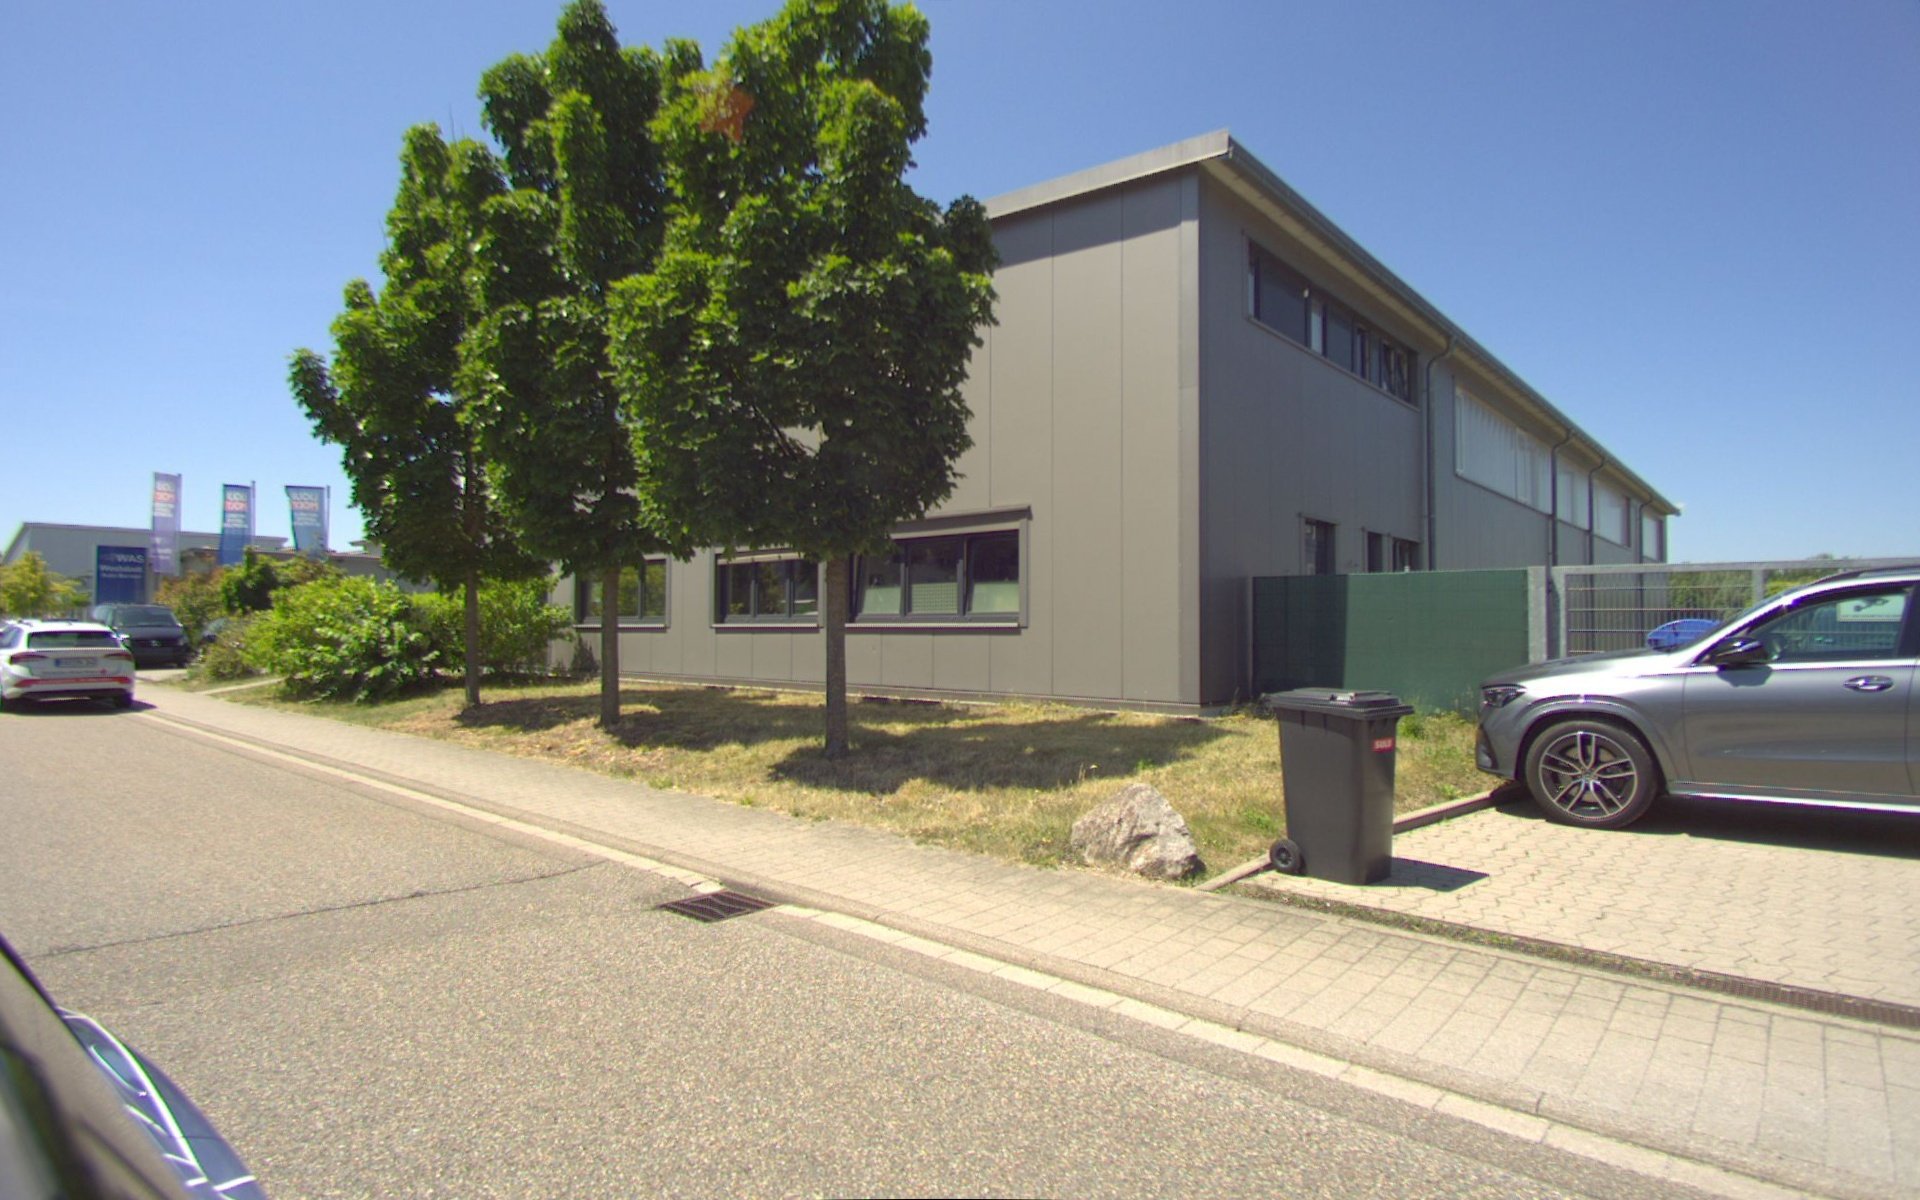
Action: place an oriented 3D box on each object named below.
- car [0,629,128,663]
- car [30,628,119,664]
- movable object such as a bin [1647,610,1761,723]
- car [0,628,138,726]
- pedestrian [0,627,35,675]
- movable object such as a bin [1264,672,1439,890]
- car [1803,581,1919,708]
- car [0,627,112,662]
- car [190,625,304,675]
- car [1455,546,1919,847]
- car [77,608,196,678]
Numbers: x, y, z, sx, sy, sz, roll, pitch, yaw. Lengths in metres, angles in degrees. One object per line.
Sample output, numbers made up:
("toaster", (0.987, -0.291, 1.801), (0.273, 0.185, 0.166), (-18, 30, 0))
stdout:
("car", (-40.365, 2.049, 45.586), (1.846, 1.442, 4.262), (-2, -2, 42))
("car", (-38.652, 1.987, 44.187), (1.534, 1.529, 2.713), (-1, -2, 40))
("movable object such as a bin", (10.016, 0.864, 13.629), (1.148, 1.426, 1.012), (-2, -1, 38))
("car", (-15.977, 1.245, 17.723), (4.489, 1.469, 1.712), (-1, -1, 41))
("pedestrian", (-32.420, 1.735, 34.749), (0.785, 1.586, 0.889), (-2, -1, 42))
("movable object such as a bin", (2.228, 0.980, 5.764), (0.765, 1.073, 0.573), (-1, 0, 41))
("car", (14.716, 0.606, 15.863), (2.000, 1.748, 4.843), (-3, -1, 43))
("car", (-42.528, 2.043, 47.284), (1.865, 1.529, 4.219), (-1, -2, 40))
("car", (-22.845, 1.552, 32.355), (4.767, 1.427, 1.911), (-1, 0, 41))
("car", (6.204, 0.557, 6.635), (1.971, 1.748, 4.915), (0, -2, -45))
("car", (-25.176, 1.257, 30.859), (5.215, 1.971, 1.973), (-1, -1, 41))
